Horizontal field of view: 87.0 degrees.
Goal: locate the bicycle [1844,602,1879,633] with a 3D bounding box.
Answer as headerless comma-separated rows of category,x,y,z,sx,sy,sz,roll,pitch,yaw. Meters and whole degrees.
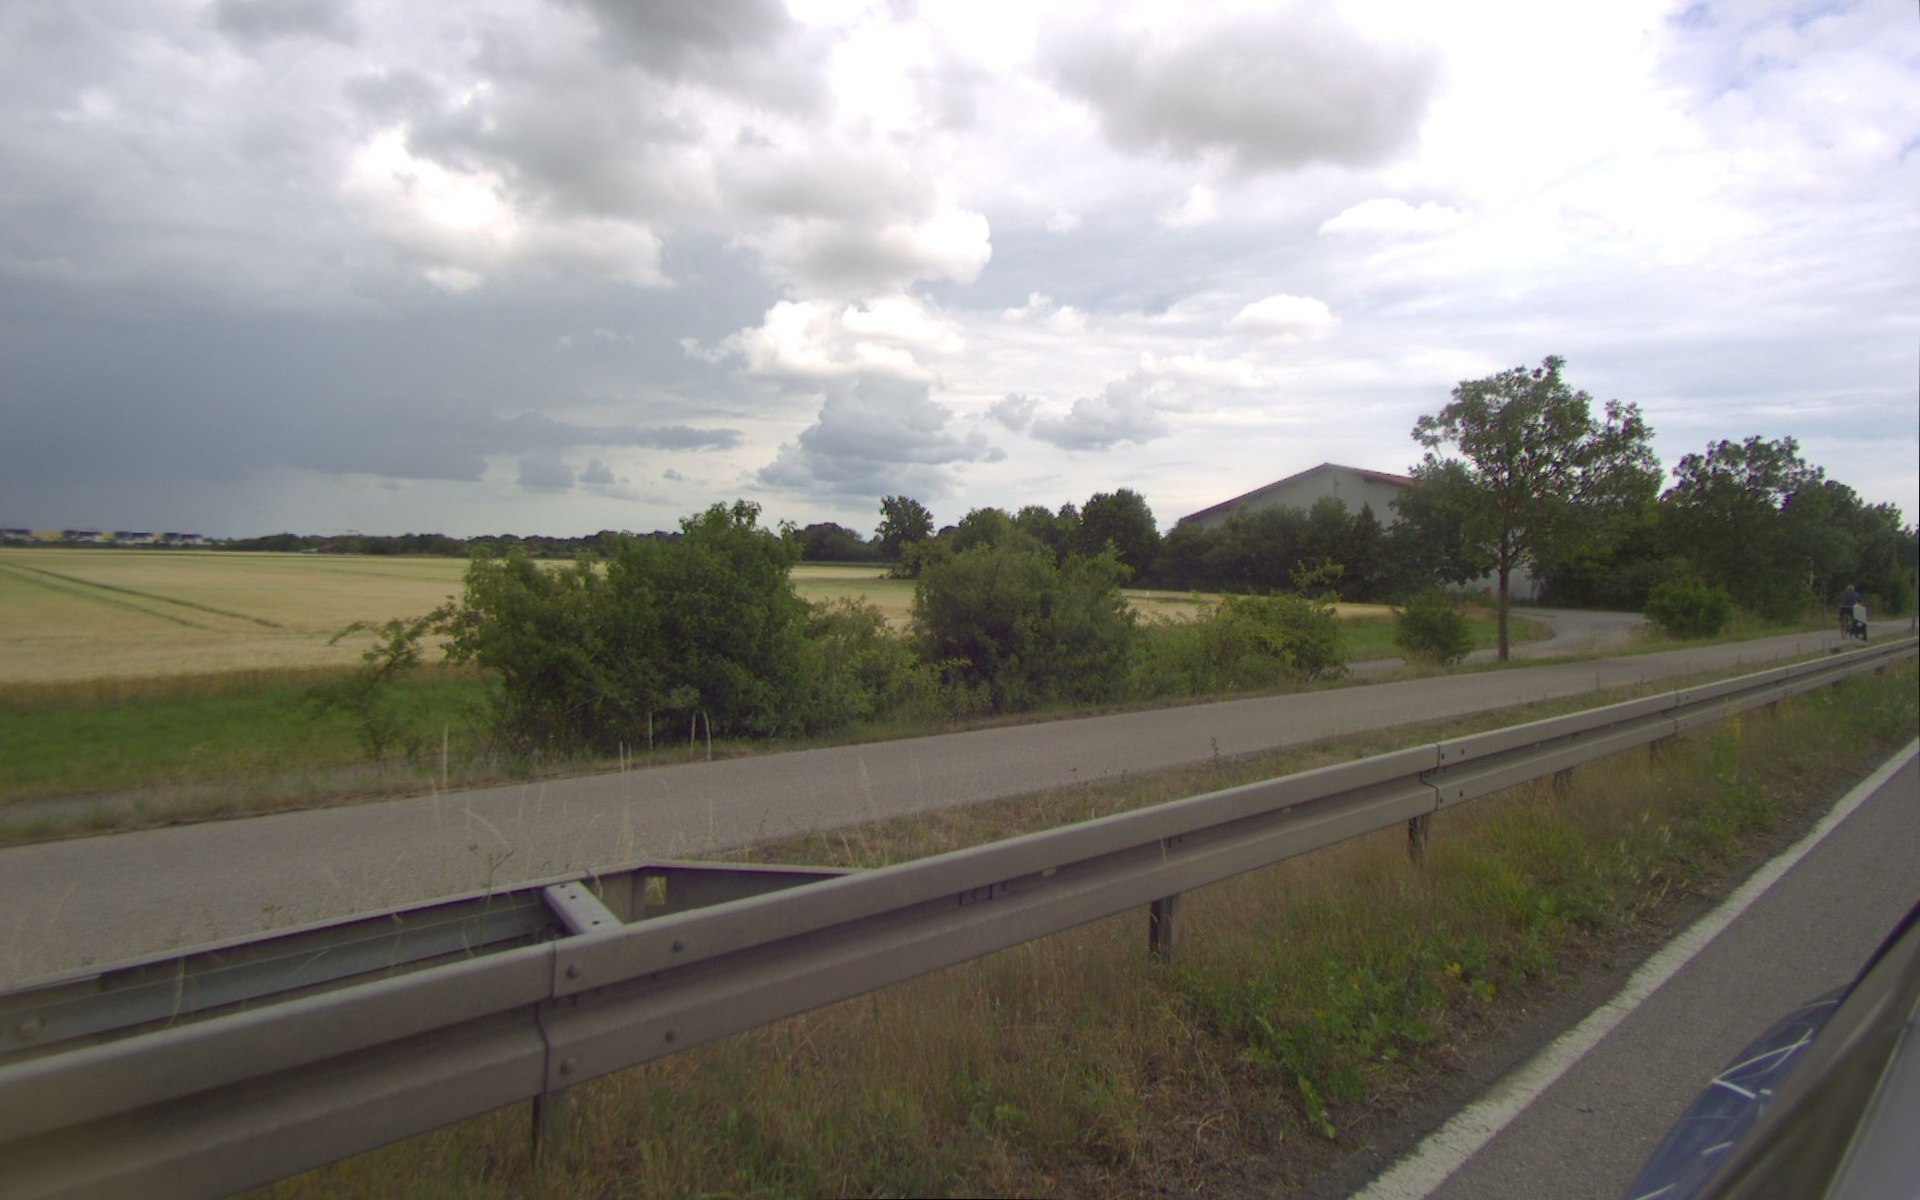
bicycle,31.111,0.602,34.930,2.037,0.990,0.640,-1,2,-41

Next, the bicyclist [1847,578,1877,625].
bicyclist,31.106,0.037,34.905,0.952,1.602,0.640,0,1,-41
